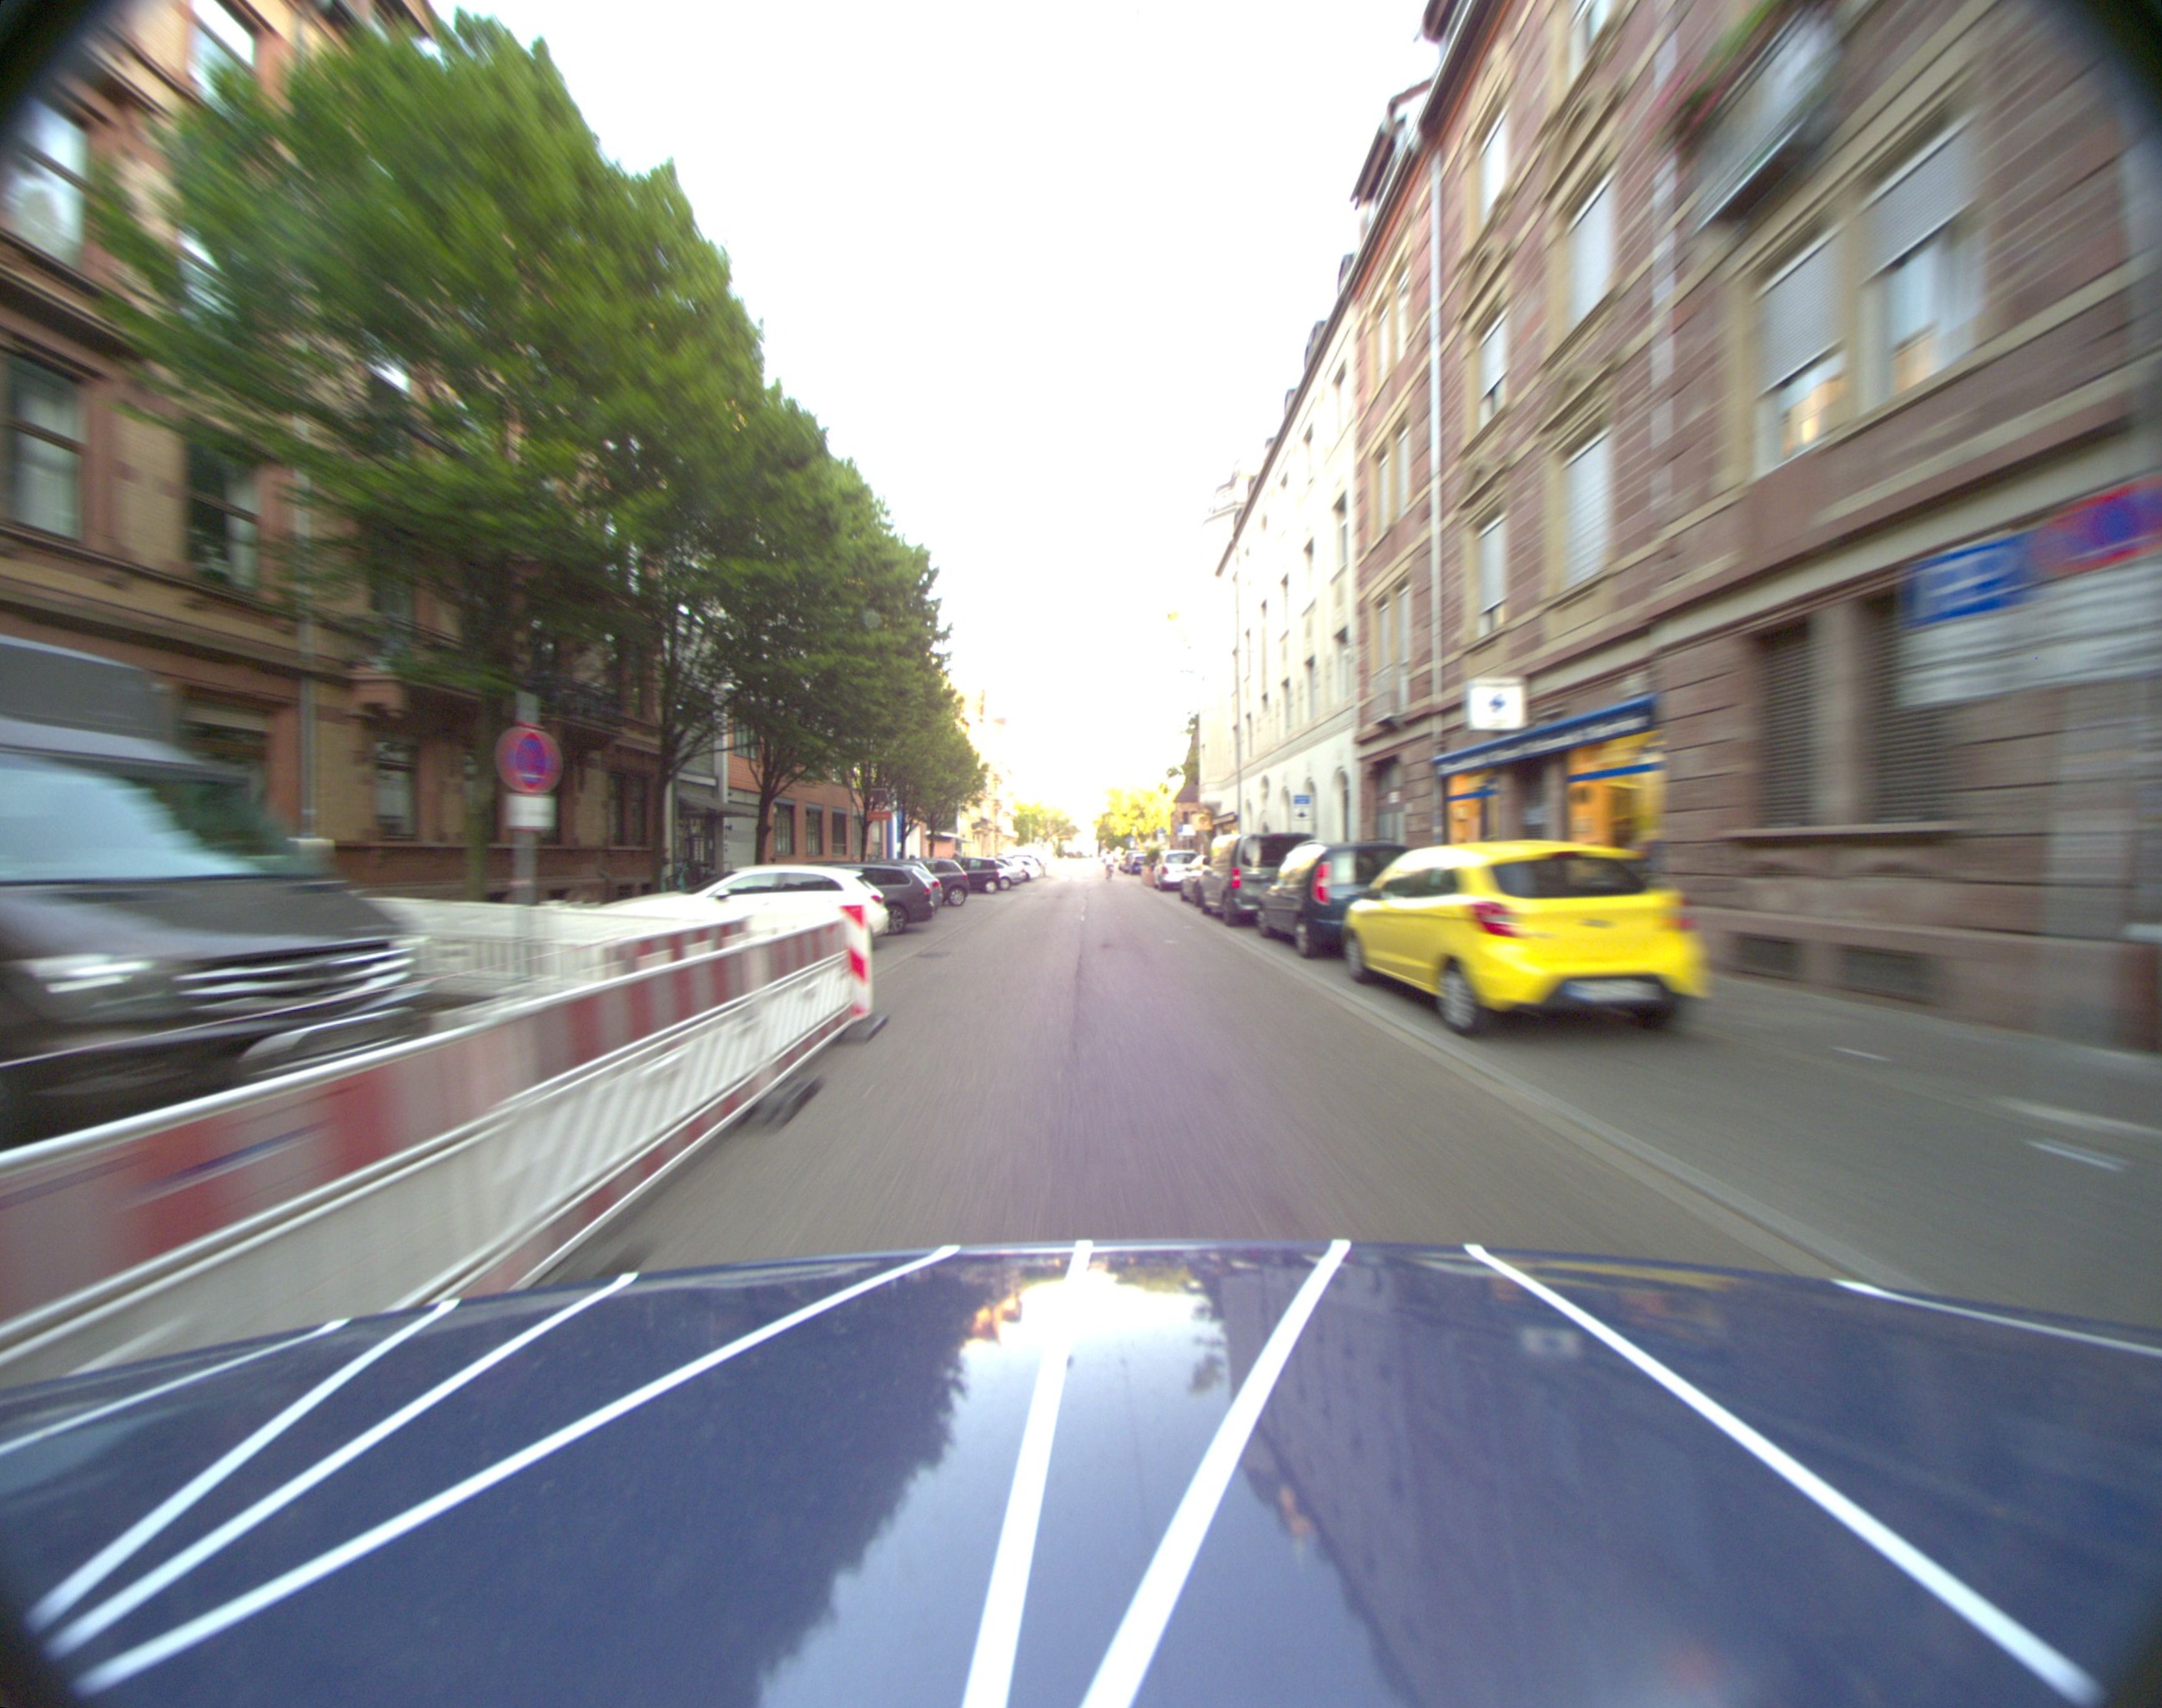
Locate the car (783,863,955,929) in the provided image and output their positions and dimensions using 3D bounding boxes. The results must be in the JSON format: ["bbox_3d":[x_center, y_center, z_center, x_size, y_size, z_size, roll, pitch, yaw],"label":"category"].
[{"bbox_3d":[-5.115,0.964,18.398,3.638,1.412,1.826,1,0,-31],"label":"car"}]

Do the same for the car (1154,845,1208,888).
[{"bbox_3d":[4.066,0.483,31.532,1.730,1.638,3.916,-2,0,1],"label":"car"}]

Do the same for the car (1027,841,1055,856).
[{"bbox_3d":[-6.374,-0.932,122.558,4.201,2.246,1.673,1,1,-34],"label":"car"}]

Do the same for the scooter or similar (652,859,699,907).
[{"bbox_3d":[-11.326,0.792,21.231,0.329,1.274,1.068,-1,2,38],"label":"scooter or similar"}]

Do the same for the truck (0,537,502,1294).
[{"bbox_3d":[-7.532,0.324,4.369,6.495,3.059,2.525,-2,1,4],"label":"truck"}]

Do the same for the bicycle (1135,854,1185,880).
[{"bbox_3d":[4.358,0.718,41.973,2.619,1.390,0.602,-2,1,14],"label":"bicycle"}]

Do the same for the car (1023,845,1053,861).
[{"bbox_3d":[-6.452,-0.094,114.128,4.202,2.280,1.673,1,1,-38],"label":"car"}]

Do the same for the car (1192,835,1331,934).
[{"bbox_3d":[3.831,0.579,17.084,1.932,1.872,4.904,-1,0,0],"label":"car"}]

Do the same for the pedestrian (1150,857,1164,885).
[{"bbox_3d":[3.633,0.800,36.412,0.571,1.315,0.496,-2,1,0],"label":"pedestrian"}]

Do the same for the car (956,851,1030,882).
[{"bbox_3d":[-5.008,0.691,43.367,3.840,1.639,1.674,1,1,-26],"label":"car"}]

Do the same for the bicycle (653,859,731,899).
[{"bbox_3d":[-11.889,0.764,23.275,2.025,1.158,0.579,2,0,-17],"label":"bicycle"}]

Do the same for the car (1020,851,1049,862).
[{"bbox_3d":[-6.745,0.347,111.011,3.842,1.510,1.673,1,1,-34],"label":"car"}]

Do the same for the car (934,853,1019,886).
[{"bbox_3d":[-5.240,0.776,38.137,3.841,1.557,1.673,1,1,-29],"label":"car"}]

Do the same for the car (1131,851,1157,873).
[{"bbox_3d":[4.740,0.567,57.465,1.785,1.537,4.000,-2,1,2],"label":"car"}]

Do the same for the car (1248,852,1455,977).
[{"bbox_3d":[3.948,0.787,11.850,1.932,1.587,3.970,-1,0,2],"label":"car"}]

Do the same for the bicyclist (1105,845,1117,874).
[{"bbox_3d":[1.751,0.322,44.990,0.624,1.682,1.003,-2,1,0],"label":"bicyclist"}]

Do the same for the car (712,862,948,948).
[{"bbox_3d":[-5.020,0.951,15.411,4.179,1.480,1.826,1,0,-35],"label":"car"}]

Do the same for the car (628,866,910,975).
[{"bbox_3d":[-5.024,0.981,12.425,4.003,1.480,1.680,1,0,-33],"label":"car"}]

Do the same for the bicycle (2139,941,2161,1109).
[{"bbox_3d":[6.333,0.983,3.403,0.357,0.940,1.994,-2,1,-2],"label":"bicycle"}]

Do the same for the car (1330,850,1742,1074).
[{"bbox_3d":[3.752,0.745,7.130,1.709,1.521,3.793,-1,0,2],"label":"car"}]

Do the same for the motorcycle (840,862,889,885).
[{"bbox_3d":[-9.490,0.847,33.264,1.984,0.921,0.591,3,1,14],"label":"motorcycle"}]

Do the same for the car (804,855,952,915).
[{"bbox_3d":[-5.543,0.828,20.782,3.637,1.508,1.621,1,0,-27],"label":"car"}]

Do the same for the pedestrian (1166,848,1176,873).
[{"bbox_3d":[6.186,0.440,52.488,0.566,1.723,0.562,-2,1,0],"label":"pedestrian"}]

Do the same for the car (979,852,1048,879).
[{"bbox_3d":[-4.114,0.715,46.516,3.842,1.510,1.673,1,1,-32],"label":"car"}]

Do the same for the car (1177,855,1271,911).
[{"bbox_3d":[4.078,0.787,22.440,1.932,1.422,4.481,-1,0,0],"label":"car"}]

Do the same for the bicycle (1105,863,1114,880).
[{"bbox_3d":[1.692,1.032,45.246,0.477,0.938,1.895,-2,1,0],"label":"bicycle"}]

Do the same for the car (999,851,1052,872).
[{"bbox_3d":[-4.341,0.609,59.334,3.837,1.510,1.675,2,1,-15],"label":"car"}]

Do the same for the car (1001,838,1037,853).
[{"bbox_3d":[-7.173,-0.989,87.887,3.841,1.510,1.674,1,1,-27],"label":"car"}]

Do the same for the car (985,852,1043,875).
[{"bbox_3d":[-4.783,0.699,54.333,3.837,1.510,1.675,2,1,-15],"label":"car"}]

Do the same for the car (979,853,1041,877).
[{"bbox_3d":[-4.796,0.742,51.506,3.841,1.510,1.674,1,1,-28],"label":"car"}]

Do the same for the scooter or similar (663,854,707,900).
[{"bbox_3d":[-11.495,0.666,22.084,0.329,1.274,1.067,-1,1,30],"label":"scooter or similar"}]

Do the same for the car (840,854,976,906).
[{"bbox_3d":[-5.391,0.786,23.838,3.807,1.508,1.646,1,0,-32],"label":"car"}]

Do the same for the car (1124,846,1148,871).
[{"bbox_3d":[4.508,0.337,62.444,1.785,1.860,4.457,-2,1,2],"label":"car"}]

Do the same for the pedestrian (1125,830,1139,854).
[{"bbox_3d":[5.893,-1.391,87.786,1.445,2.725,1.012,-2,1,0],"label":"pedestrian"}]

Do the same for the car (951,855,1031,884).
[{"bbox_3d":[-4.802,0.822,40.624,3.841,1.422,1.673,1,1,-29],"label":"car"}]

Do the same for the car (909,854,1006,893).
[{"bbox_3d":[-5.331,0.839,32.763,3.839,1.557,1.674,2,1,-21],"label":"car"}]

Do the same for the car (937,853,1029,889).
[{"bbox_3d":[-4.570,0.815,35.485,3.841,1.557,1.673,1,1,-29],"label":"car"}]
